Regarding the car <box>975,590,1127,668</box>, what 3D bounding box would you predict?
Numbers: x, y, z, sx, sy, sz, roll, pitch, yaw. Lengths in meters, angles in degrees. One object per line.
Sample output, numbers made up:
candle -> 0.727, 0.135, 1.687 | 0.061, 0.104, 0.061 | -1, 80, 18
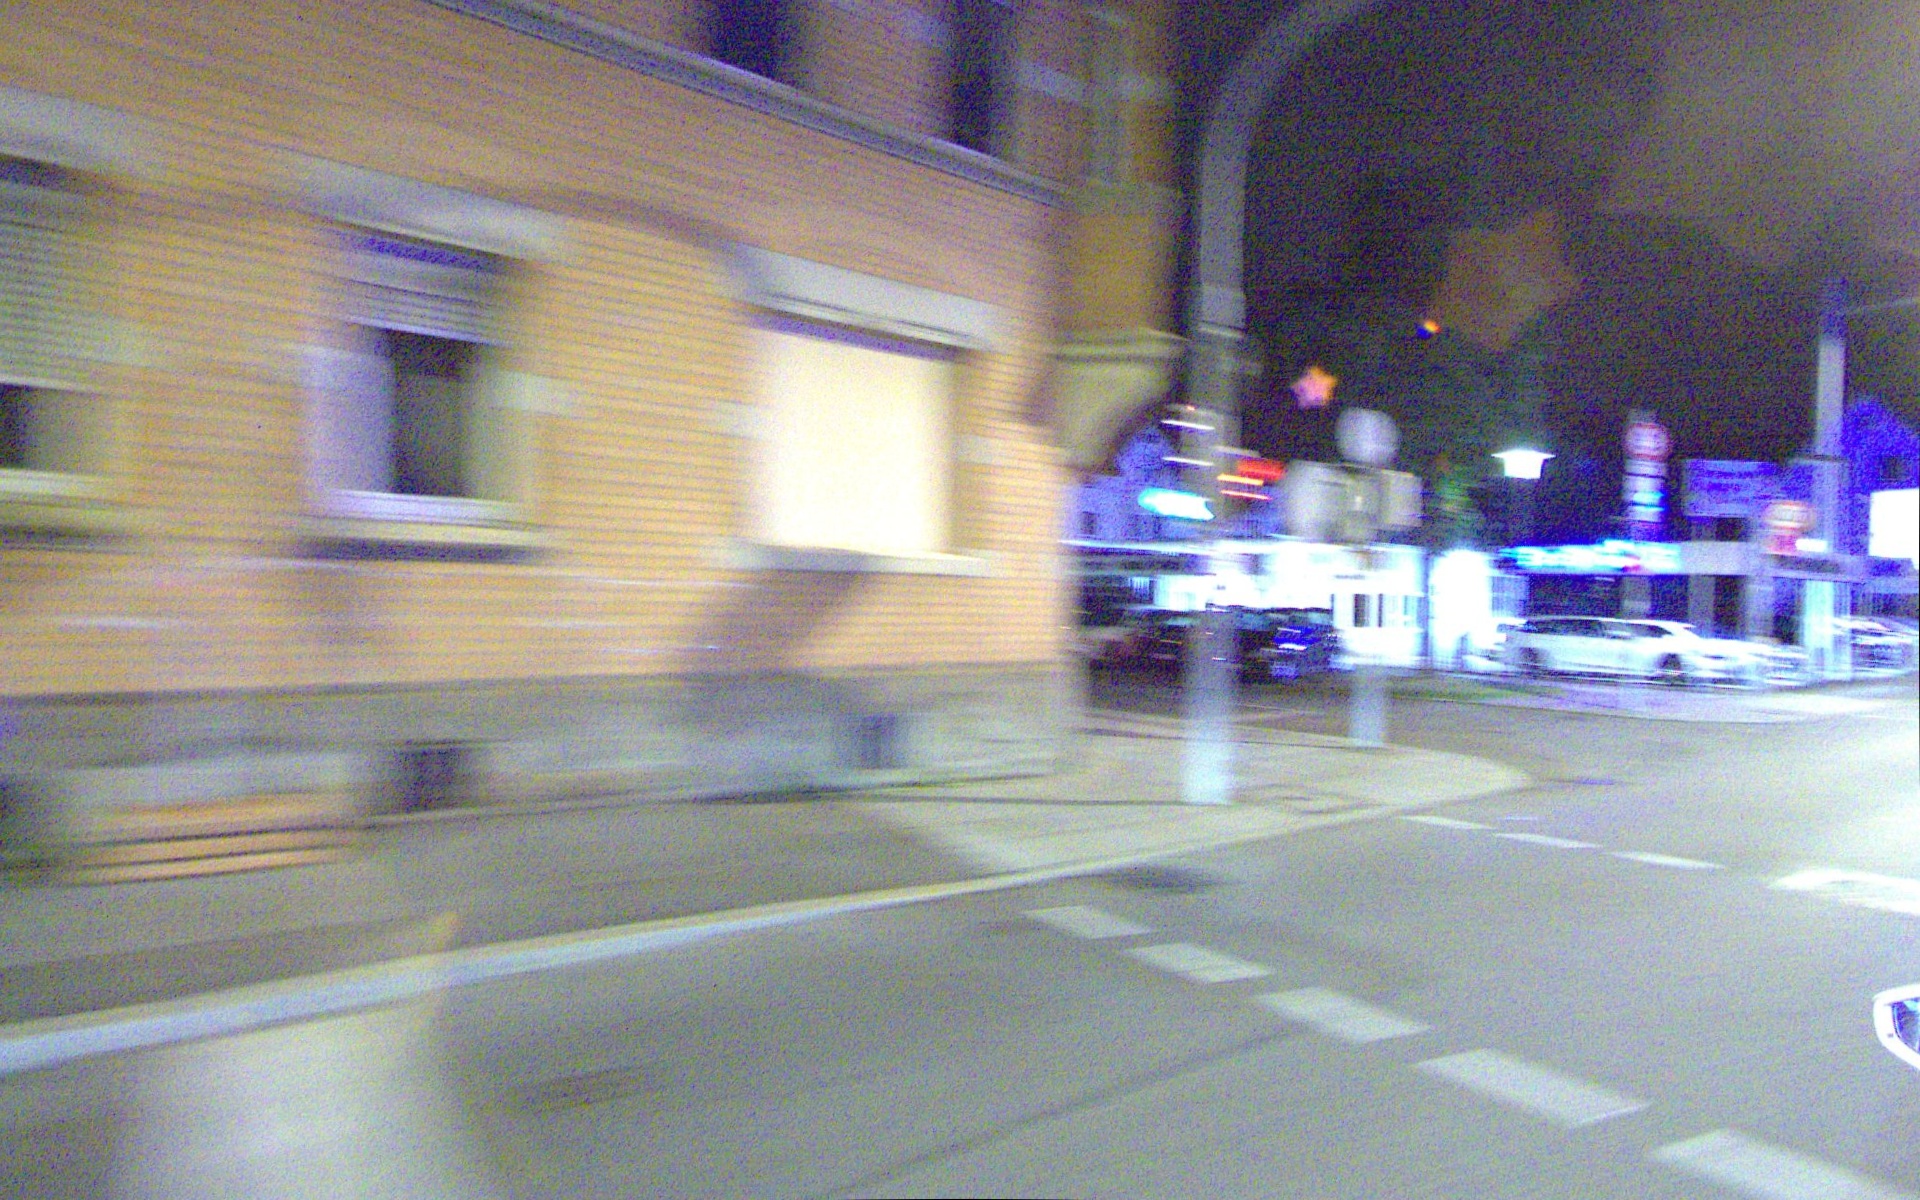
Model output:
car -> 2.559, 0.773, 27.877 | 3.968, 1.971, 1.976 | 1, 1, -40

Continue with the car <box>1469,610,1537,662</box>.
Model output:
car -> 20.668, 1.336, 38.363 | 1.962, 1.798, 3.997 | 2, 0, 25

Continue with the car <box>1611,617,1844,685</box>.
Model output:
car -> 19.766, 1.269, 26.056 | 1.981, 1.469, 4.408 | 2, 0, -36

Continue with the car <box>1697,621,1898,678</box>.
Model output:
car -> 25.781, 1.481, 31.060 | 1.981, 1.469, 4.408 | 2, 0, -36

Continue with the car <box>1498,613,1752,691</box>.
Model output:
car -> 14.985, 1.121, 22.858 | 1.981, 1.469, 4.408 | 2, 0, -36

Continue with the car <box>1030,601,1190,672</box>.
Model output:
car -> 3.935, 0.904, 26.136 | 3.968, 1.644, 1.976 | 1, 1, -40

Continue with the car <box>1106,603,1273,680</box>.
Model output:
car -> 5.624, 0.956, 24.416 | 3.968, 1.644, 1.976 | 1, 1, -40

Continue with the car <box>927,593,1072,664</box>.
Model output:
car -> 1.196, 0.810, 29.611 | 3.968, 1.911, 1.976 | 1, 1, -40

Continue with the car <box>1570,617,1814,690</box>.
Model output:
car -> 17.637, 1.224, 24.396 | 1.981, 1.469, 4.407 | 2, 0, -37

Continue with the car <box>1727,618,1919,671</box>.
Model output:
car -> 27.973, 1.413, 32.665 | 1.981, 1.469, 4.408 | 2, 0, -36

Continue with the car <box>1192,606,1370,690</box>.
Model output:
car -> 7.204, 1.003, 22.410 | 3.968, 1.644, 1.976 | 1, 1, -40
